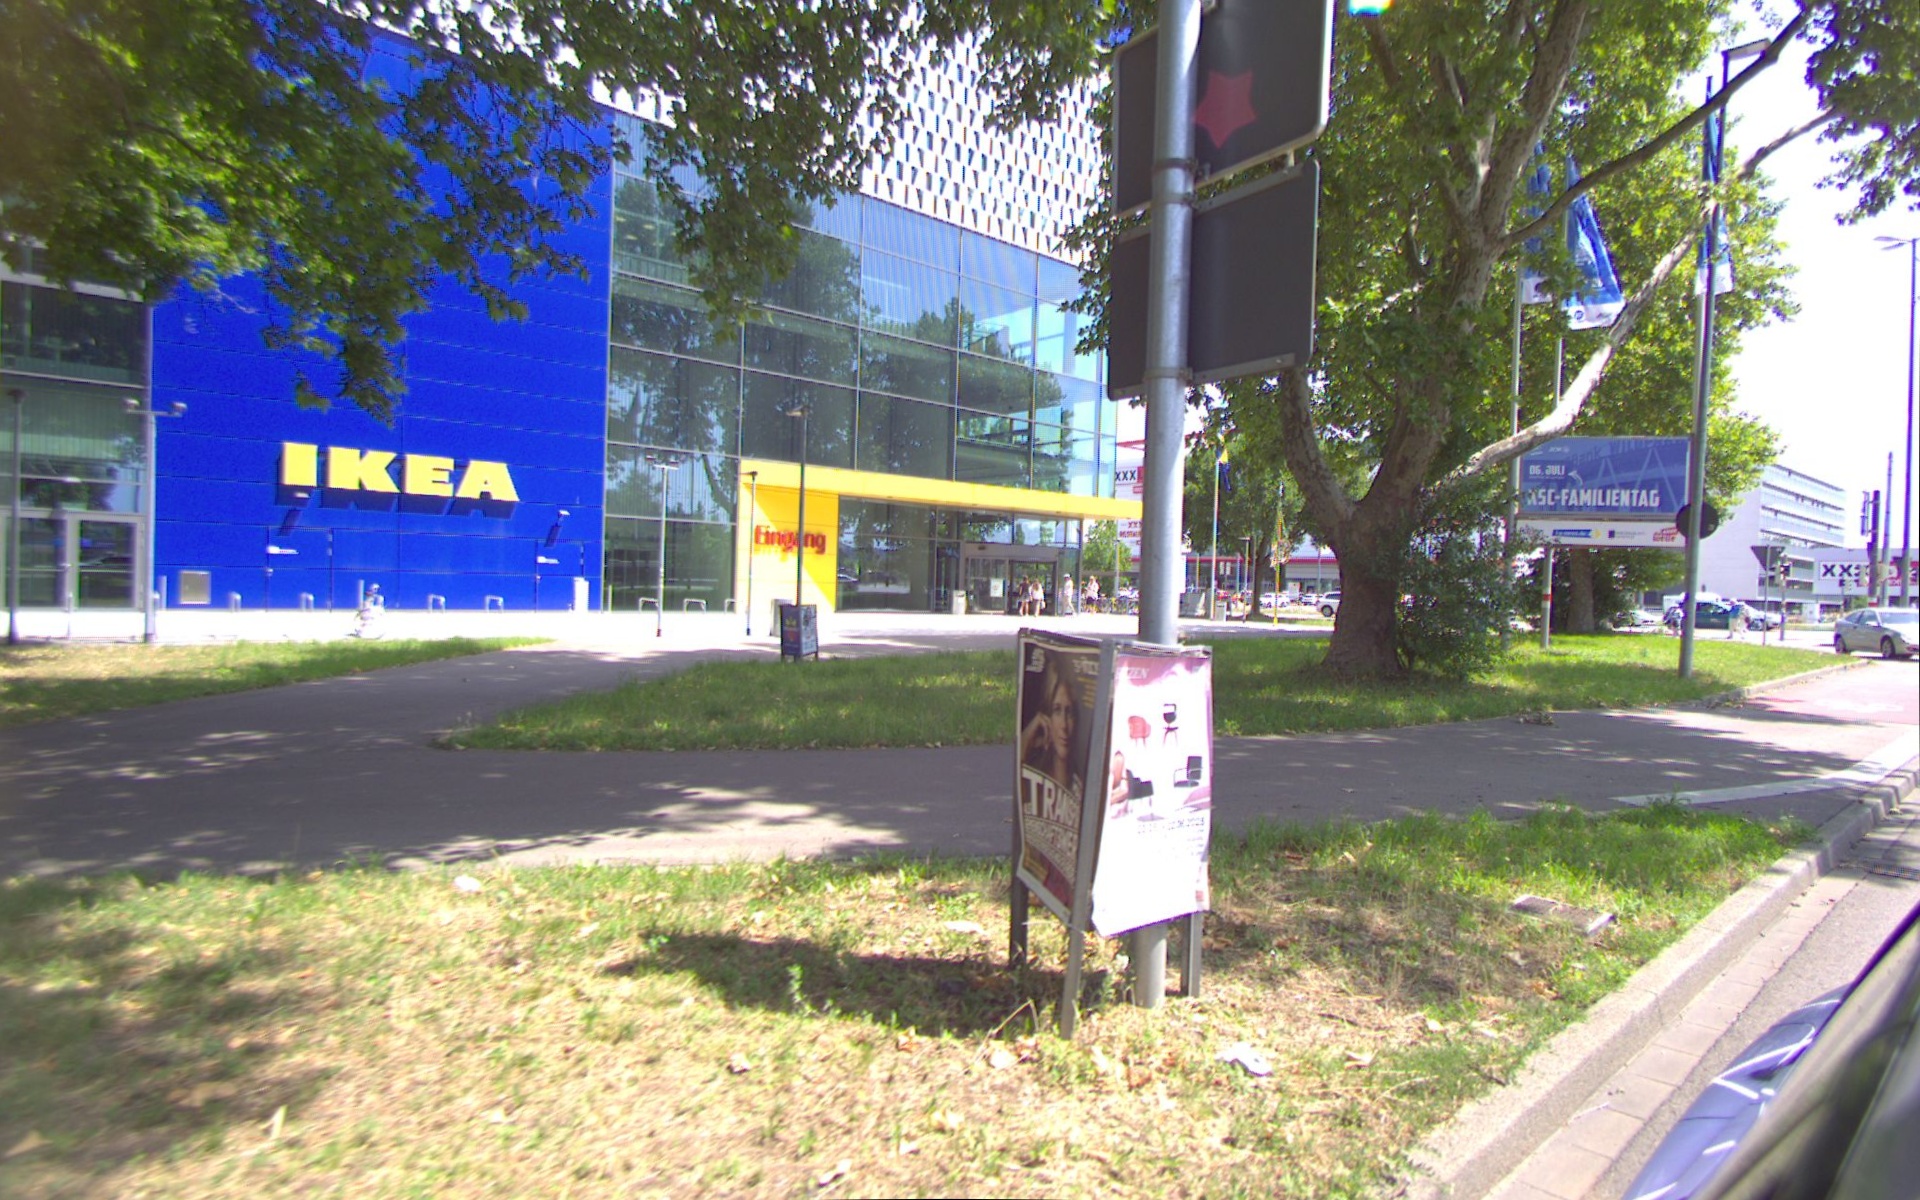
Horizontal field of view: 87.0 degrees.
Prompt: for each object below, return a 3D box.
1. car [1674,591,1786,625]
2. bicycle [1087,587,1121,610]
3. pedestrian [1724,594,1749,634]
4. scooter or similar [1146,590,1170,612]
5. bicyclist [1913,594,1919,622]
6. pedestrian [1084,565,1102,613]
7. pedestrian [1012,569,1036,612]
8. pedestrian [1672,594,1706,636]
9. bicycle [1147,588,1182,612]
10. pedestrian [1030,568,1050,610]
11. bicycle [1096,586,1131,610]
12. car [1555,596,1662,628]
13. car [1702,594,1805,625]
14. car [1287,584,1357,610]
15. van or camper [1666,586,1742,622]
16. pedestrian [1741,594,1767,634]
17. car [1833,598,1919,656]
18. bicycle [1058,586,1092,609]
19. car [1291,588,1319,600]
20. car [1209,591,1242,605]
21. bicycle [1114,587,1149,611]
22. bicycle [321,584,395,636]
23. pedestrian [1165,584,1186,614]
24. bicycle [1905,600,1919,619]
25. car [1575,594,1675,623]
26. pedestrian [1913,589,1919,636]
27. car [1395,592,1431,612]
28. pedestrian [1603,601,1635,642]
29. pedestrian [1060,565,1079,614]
[{"bbox_3d":[37.292,0.378,49.063,1.964,1.575,3.995,0,0,-40],"label":"car"},{"bbox_3d":[7.844,-0.109,54.899,0.798,1.214,2.401,1,1,36],"label":"bicycle"},{"bbox_3d":[33.070,0.585,43.115,0.847,1.658,0.604,-1,1,-34],"label":"pedestrian"},{"bbox_3d":[10.901,0.052,55.771,0.716,1.213,1.075,0,1,-41],"label":"scooter or similar"},{"bbox_3d":[58.162,0.507,60.898,0.802,1.722,0.798,2,1,5],"label":"bicyclist"},{"bbox_3d":[5.668,-0.472,43.233,0.721,2.039,0.797,1,0,9],"label":"pedestrian"},{"bbox_3d":[2.610,-0.386,41.365,0.725,1.757,0.785,1,0,-21],"label":"pedestrian"},{"bbox_3d":[29.872,0.617,41.481,0.834,1.680,0.799,0,0,-20],"label":"pedestrian"},{"bbox_3d":[10.257,-0.011,50.673,0.798,1.159,2.401,1,1,36],"label":"bicycle"},{"bbox_3d":[3.283,-0.445,41.623,0.574,1.693,0.609,0,0,-24],"label":"pedestrian"},{"bbox_3d":[8.143,-0.111,53.538,0.798,1.214,2.401,1,1,36],"label":"bicycle"},{"bbox_3d":[34.075,0.609,53.253,1.821,1.461,4.408,0,2,-41],"label":"car"},{"bbox_3d":[39.765,0.455,50.782,1.773,1.414,3.829,0,1,-42],"label":"car"},{"bbox_3d":[24.485,-0.210,68.543,1.963,1.661,4.079,3,0,-38],"label":"car"},{"bbox_3d":[64.382,0.323,87.544,7.464,2.983,2.720,-1,0,-32],"label":"van or camper"},{"bbox_3d":[33.417,0.589,42.595,0.847,1.658,0.608,-1,1,-34],"label":"pedestrian"},{"bbox_3d":[25.985,0.696,27.622,1.709,1.436,4.296,0,1,18],"label":"car"},{"bbox_3d":[6.336,-0.151,55.623,0.798,1.214,2.401,1,1,36],"label":"bicycle"},{"bbox_3d":[44.388,-0.737,130.162,3.928,1.546,1.693,0,1,-39],"label":"car"},{"bbox_3d":[33.981,-0.243,129.568,4.093,1.723,1.854,0,1,-37],"label":"car"},{"bbox_3d":[8.989,-0.069,53.046,0.798,1.214,2.401,1,1,36],"label":"bicycle"},{"bbox_3d":[-12.278,0.178,20.610,0.854,0.981,2.062,0,1,-43],"label":"bicycle"},{"bbox_3d":[11.705,-0.039,55.008,0.623,1.606,0.918,0,1,-45],"label":"pedestrian"},{"bbox_3d":[58.140,0.582,60.899,0.817,1.177,1.877,1,0,4],"label":"bicycle"},{"bbox_3d":[36.253,0.439,55.288,1.768,1.415,4.236,0,1,-32],"label":"car"},{"bbox_3d":[34.716,0.446,36.297,0.614,1.704,0.724,0,0,-44],"label":"pedestrian"},{"bbox_3d":[49.070,0.173,109.555,3.927,2.039,1.999,-1,1,-38],"label":"car"},{"bbox_3d":[27.860,0.900,42.790,0.834,1.680,0.799,0,0,-23],"label":"pedestrian"},{"bbox_3d":[4.660,-0.462,42.920,0.721,2.039,0.797,1,0,12],"label":"pedestrian"}]
